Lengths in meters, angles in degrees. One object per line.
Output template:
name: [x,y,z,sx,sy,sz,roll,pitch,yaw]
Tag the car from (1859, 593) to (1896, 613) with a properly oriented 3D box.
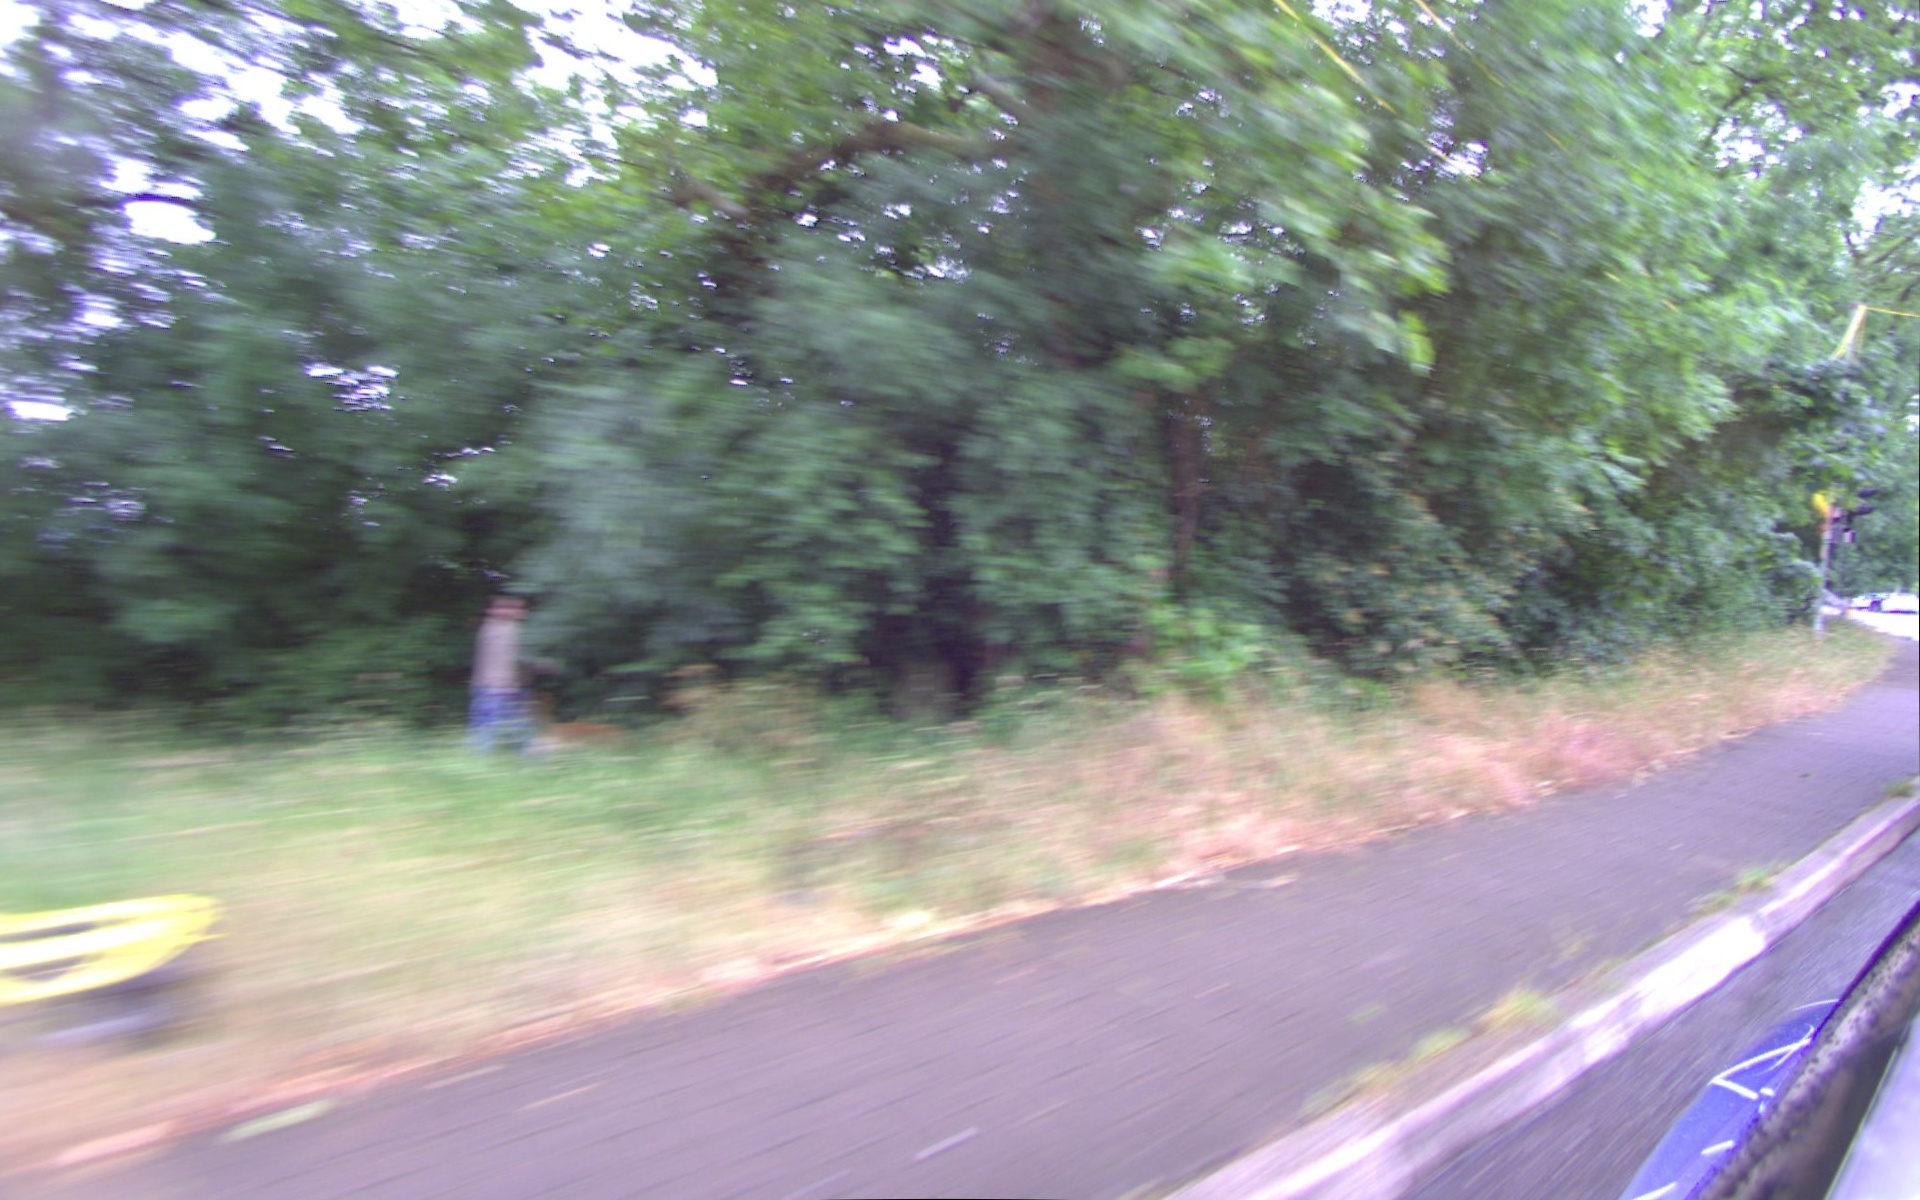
car: [73.393,0.234,80.982,1.754,1.547,3.545,0,1,35]
